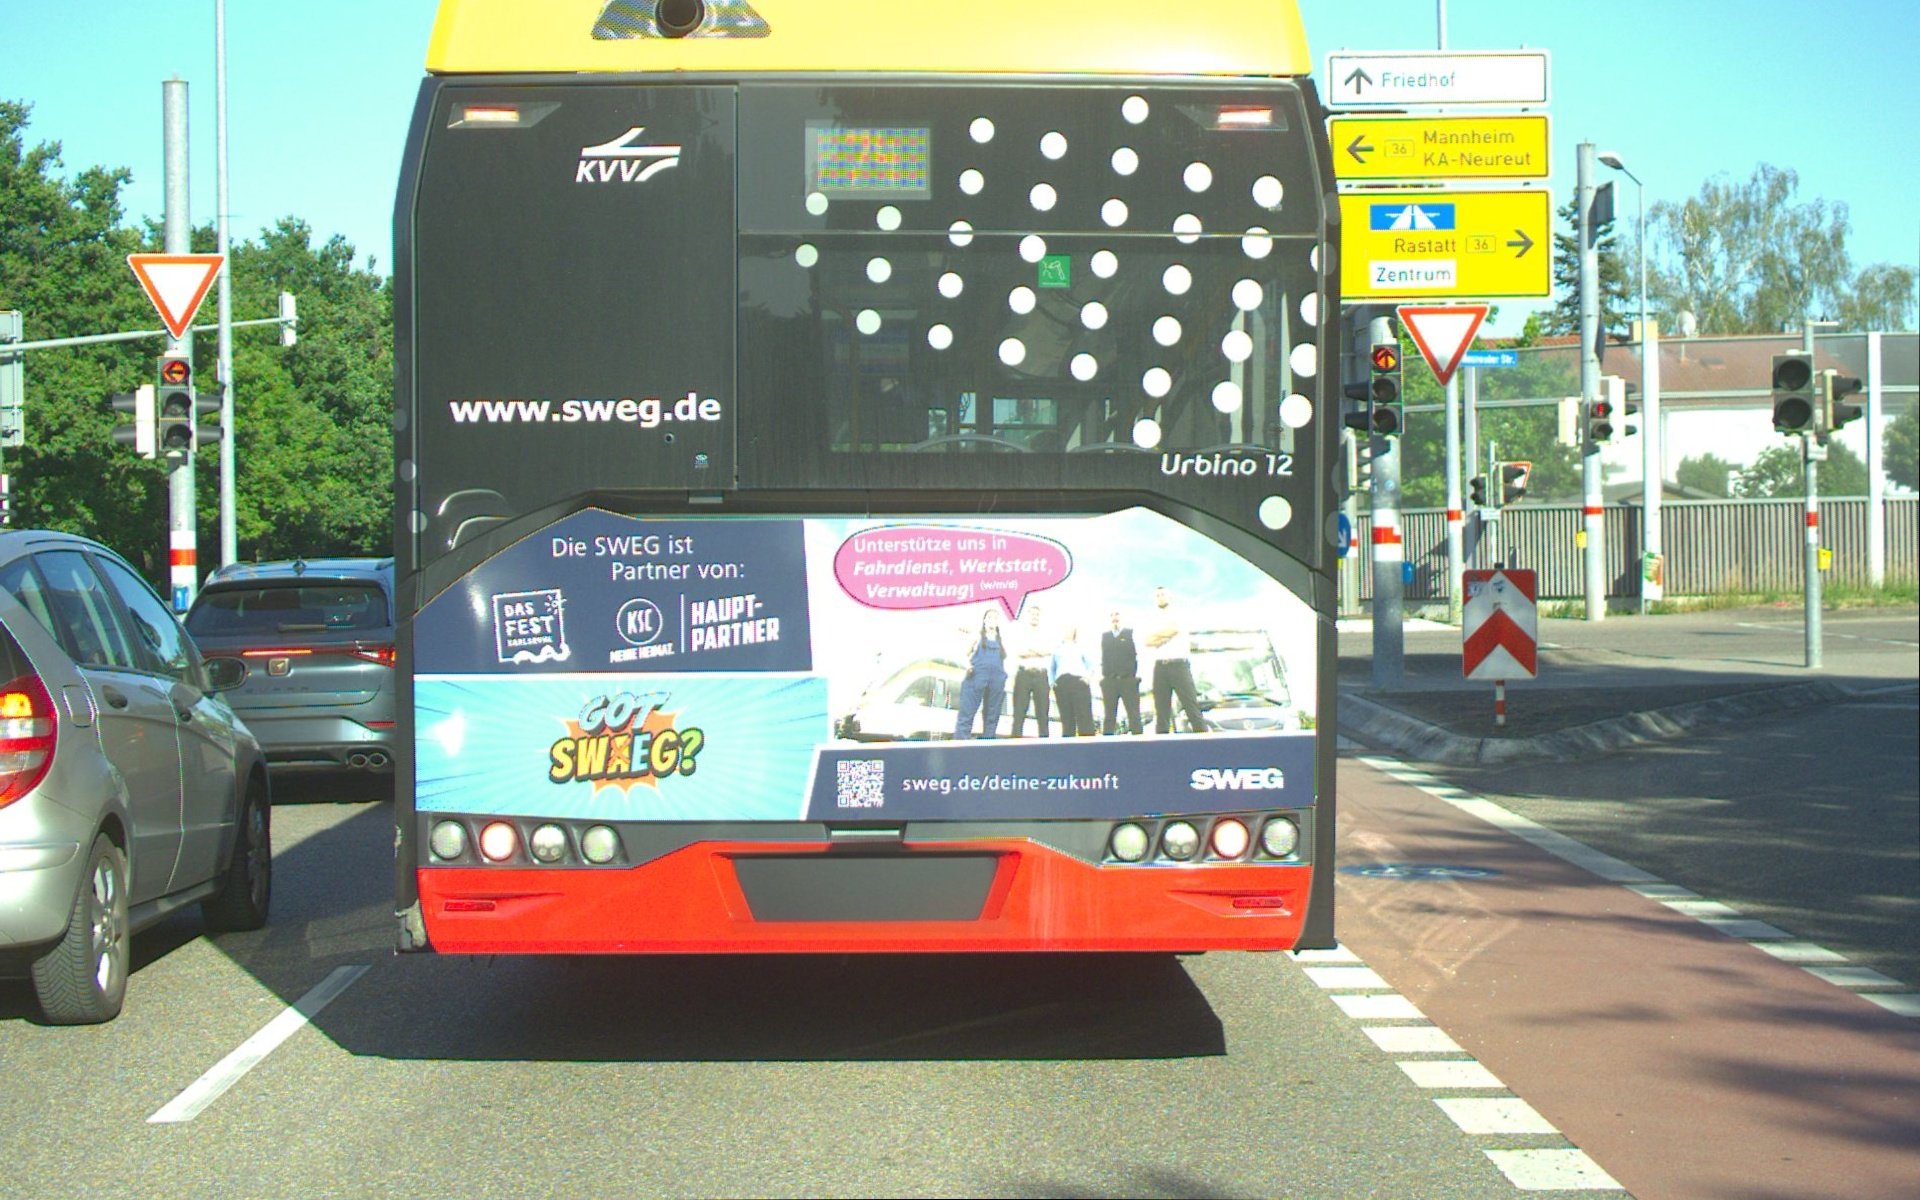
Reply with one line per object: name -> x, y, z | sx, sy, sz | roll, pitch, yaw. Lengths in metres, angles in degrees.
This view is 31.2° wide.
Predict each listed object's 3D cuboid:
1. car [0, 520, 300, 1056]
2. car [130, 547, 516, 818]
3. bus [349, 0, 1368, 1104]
car -> -3.598, 0.551, 12.188 | 1.761, 1.584, 4.000 | -2, 1, -1
car -> -3.805, 0.432, 21.120 | 1.692, 1.453, 3.751 | -2, 1, -1
bus -> -0.285, -0.402, 14.887 | 2.642, 3.156, 11.861 | 0, 1, 0
